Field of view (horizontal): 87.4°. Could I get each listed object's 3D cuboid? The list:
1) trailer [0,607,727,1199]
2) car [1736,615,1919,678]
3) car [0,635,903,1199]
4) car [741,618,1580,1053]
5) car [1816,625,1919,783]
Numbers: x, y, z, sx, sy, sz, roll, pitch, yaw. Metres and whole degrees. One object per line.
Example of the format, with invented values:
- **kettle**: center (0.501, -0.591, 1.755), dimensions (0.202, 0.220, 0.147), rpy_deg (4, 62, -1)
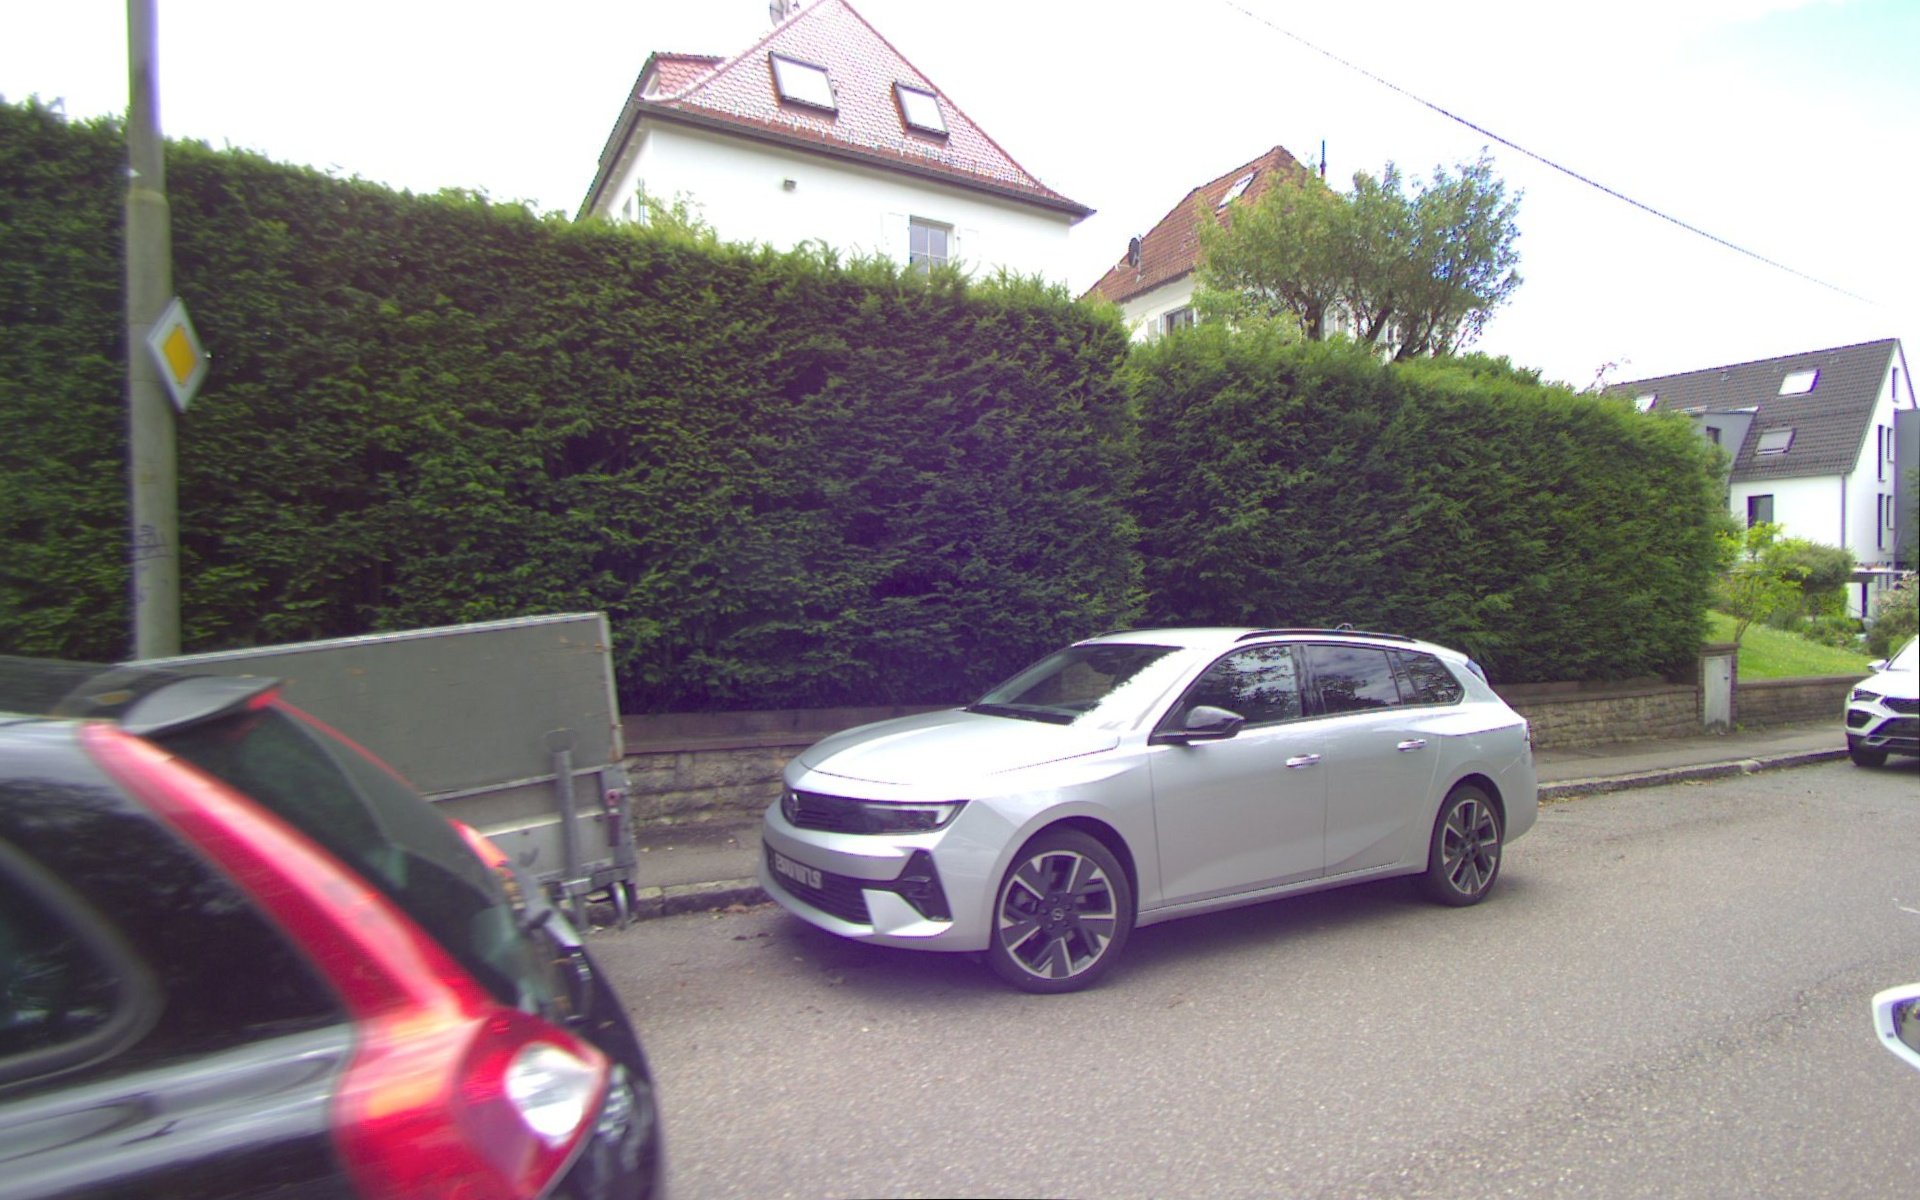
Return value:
- **trailer**: center (-3.104, 0.775, 2.913), dimensions (4.420, 1.516, 1.755), rpy_deg (2, -1, -30)
- **car**: center (27.060, 1.387, 31.362), dimensions (1.978, 1.720, 4.098), rpy_deg (-1, 1, -33)
- **car**: center (-2.403, 0.768, 0.707), dimensions (4.422, 1.465, 1.755), rpy_deg (2, -1, -31)
- **car**: center (1.238, 0.907, 5.432), dimensions (4.422, 1.519, 1.755), rpy_deg (2, -3, -31)
- **car**: center (11.955, 1.157, 11.700), dimensions (4.138, 1.670, 1.829), rpy_deg (2, -2, -32)
